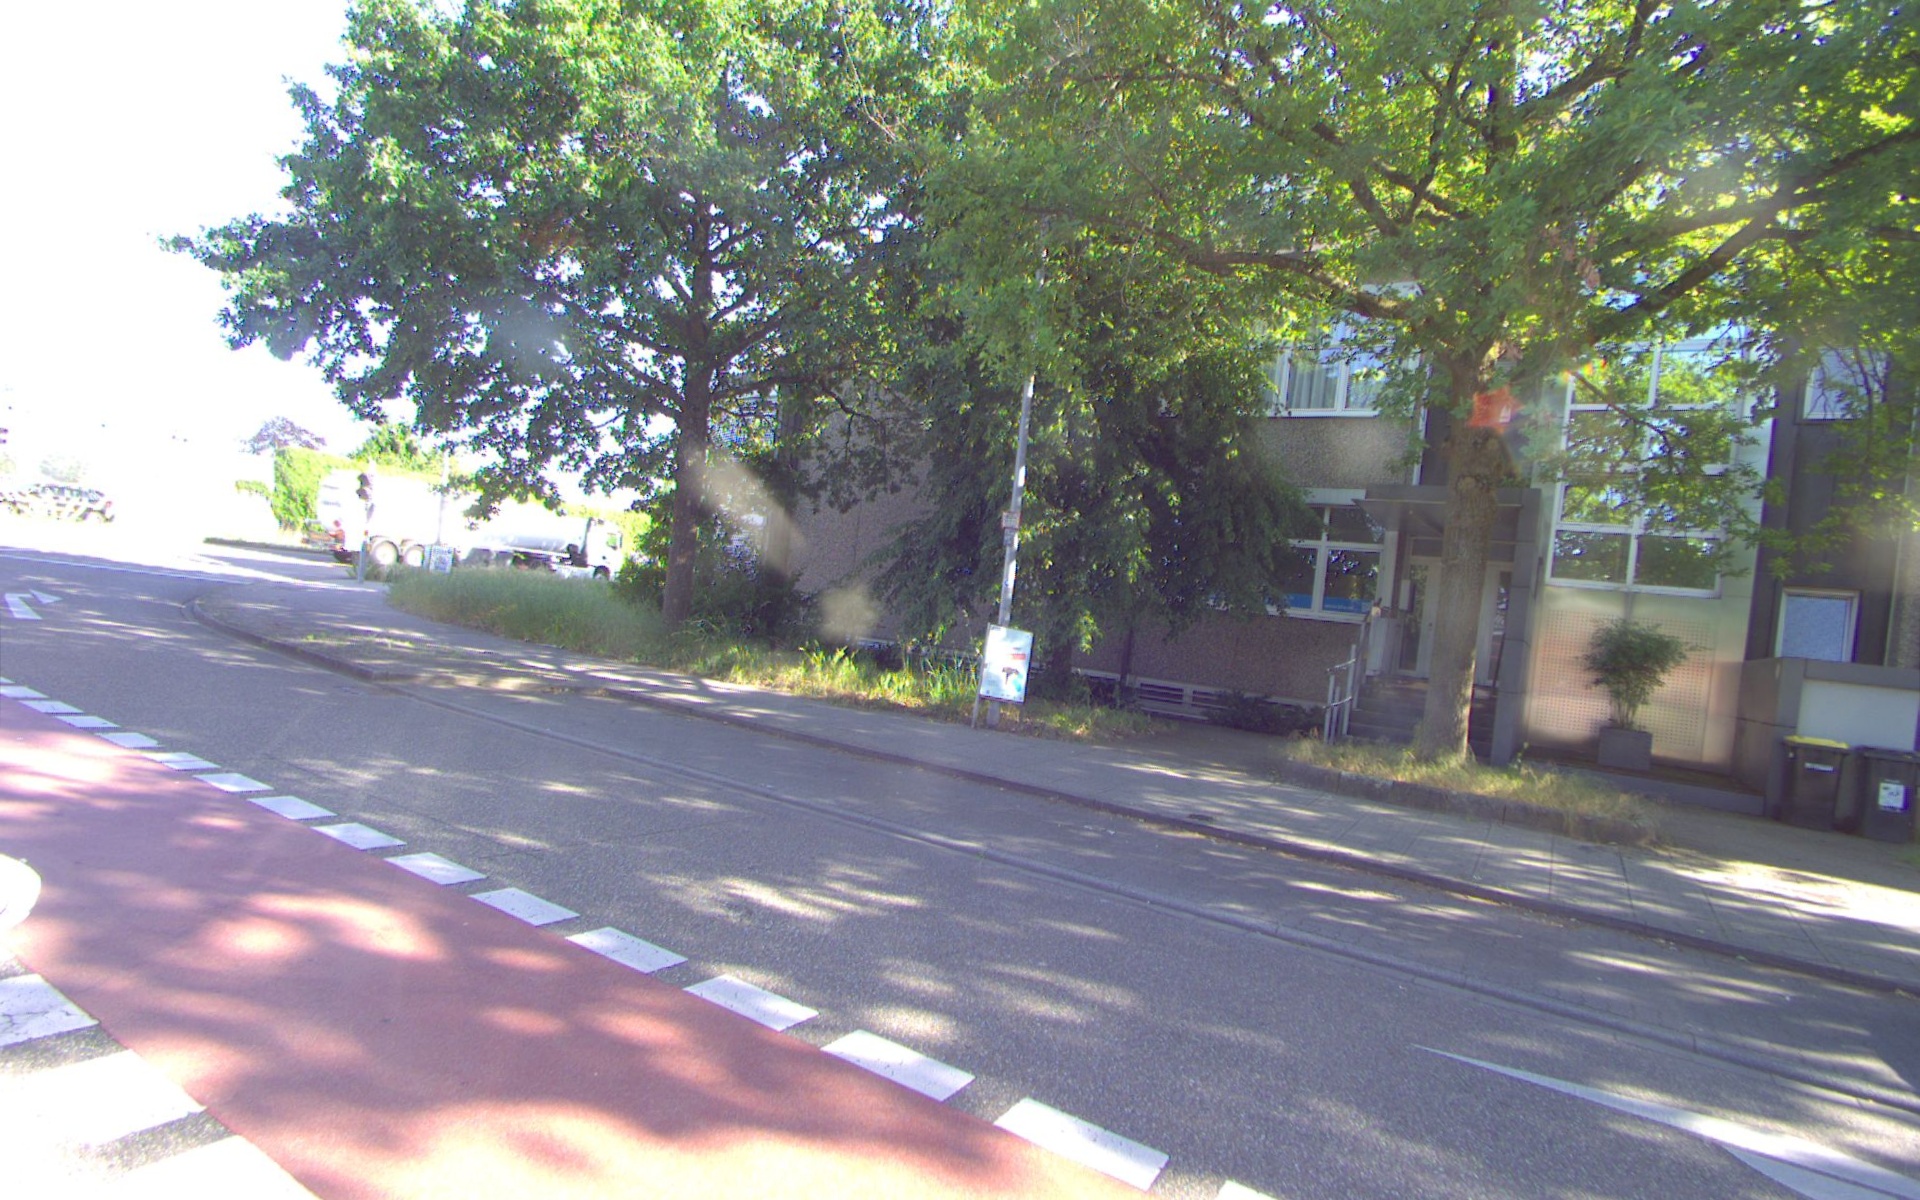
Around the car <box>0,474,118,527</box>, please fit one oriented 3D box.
[{"bbox_3d":[-33.830,-3.702,36.916,1.548,1.317,4.170,6,-2,28],"label":"car"}]

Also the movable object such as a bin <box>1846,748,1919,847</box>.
[{"bbox_3d":[10.820,2.282,11.713,0.566,1.019,0.629,6,-1,31],"label":"movable object such as a bin"}]

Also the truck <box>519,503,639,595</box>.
[{"bbox_3d":[-18.363,-2.405,48.762,2.367,3.740,4.814,7,0,24],"label":"truck"}]

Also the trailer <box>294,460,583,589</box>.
[{"bbox_3d":[-21.300,-2.871,42.399,2.352,3.740,11.507,7,-1,25],"label":"trailer"}]

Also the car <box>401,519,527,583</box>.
[{"bbox_3d":[-13.853,-1.317,28.284,1.433,1.311,3.412,7,-2,7],"label":"car"}]

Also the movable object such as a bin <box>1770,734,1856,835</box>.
[{"bbox_3d":[10.191,2.182,12.037,0.571,1.045,0.713,7,0,31],"label":"movable object such as a bin"}]
